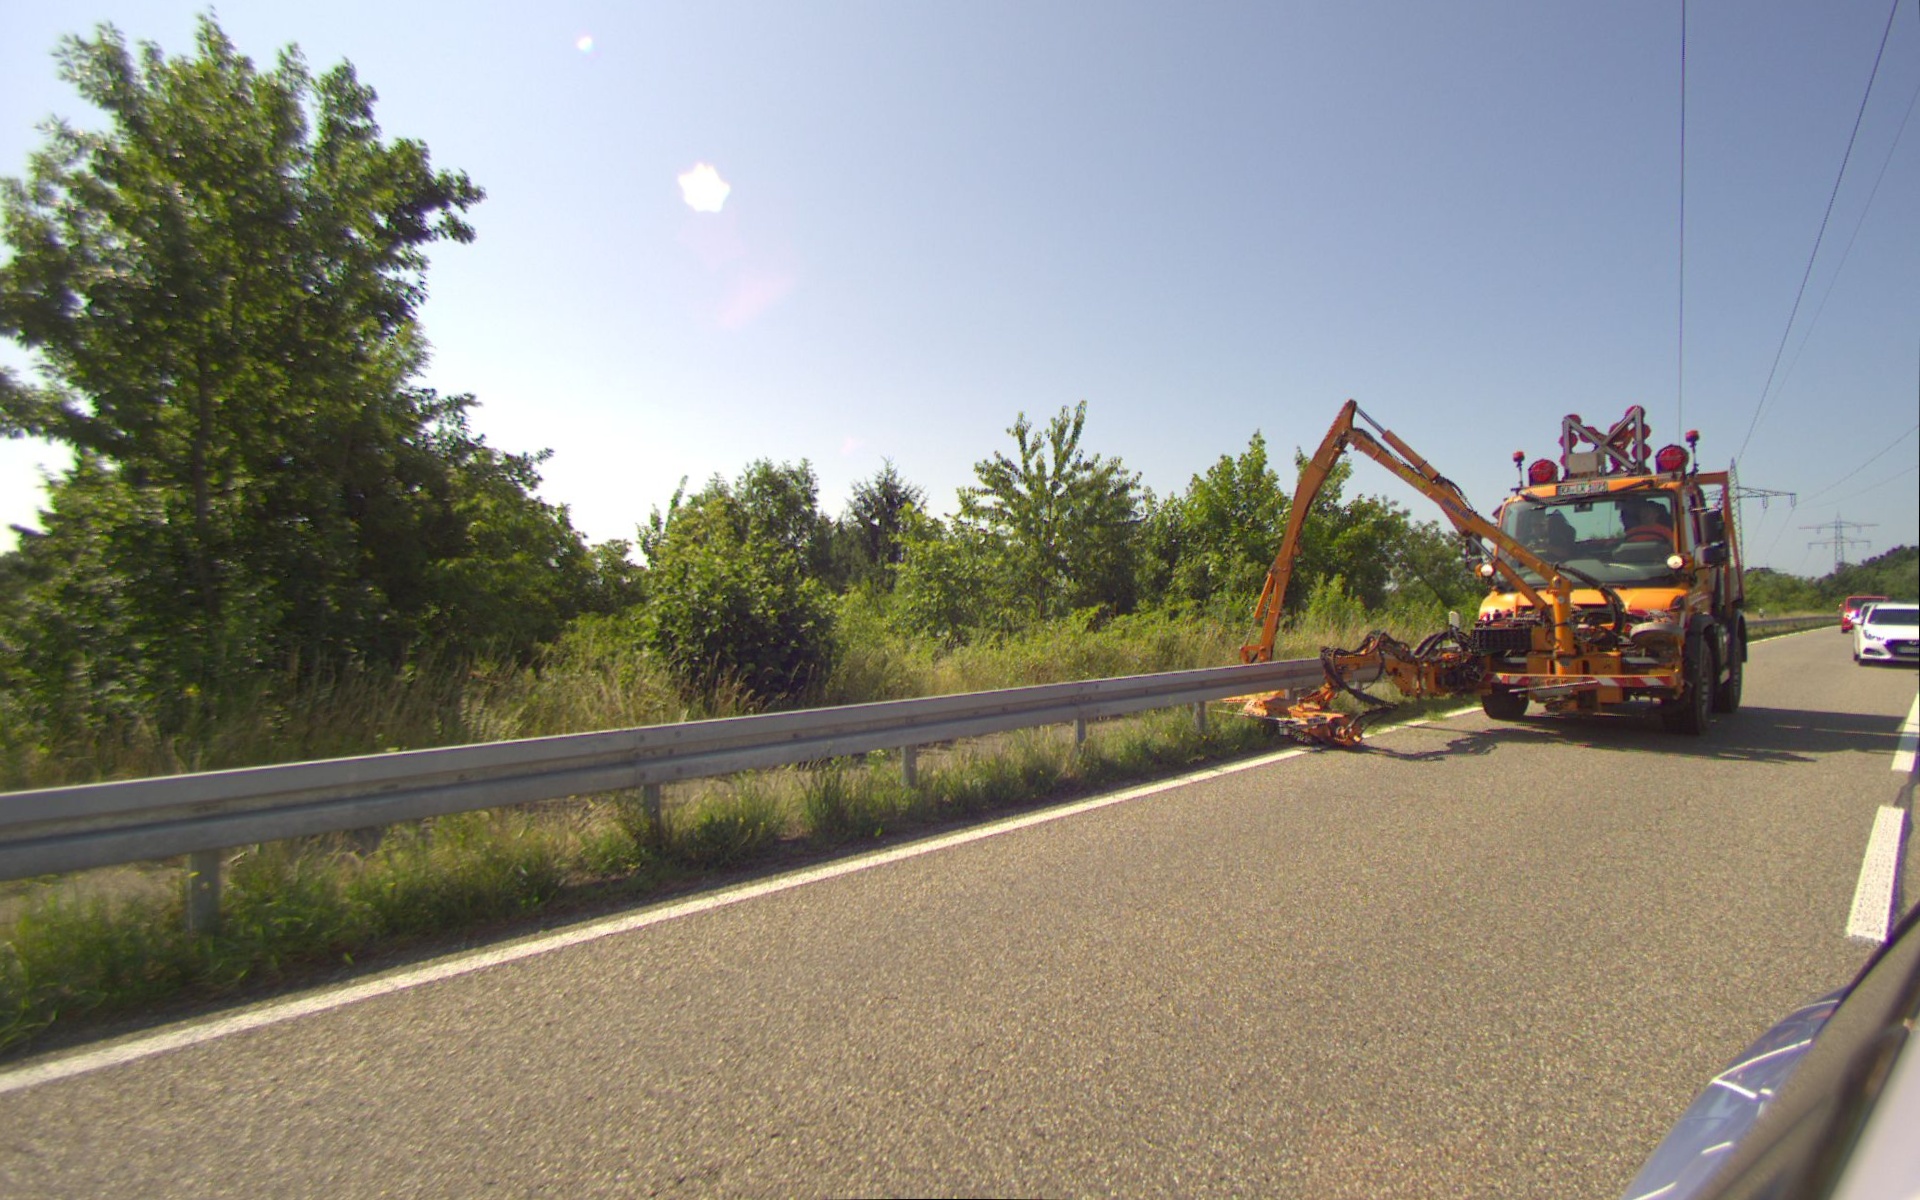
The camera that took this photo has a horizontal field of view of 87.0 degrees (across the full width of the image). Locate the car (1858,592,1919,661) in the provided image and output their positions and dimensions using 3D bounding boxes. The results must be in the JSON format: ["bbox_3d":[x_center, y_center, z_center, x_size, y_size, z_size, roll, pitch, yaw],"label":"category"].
[{"bbox_3d":[23.024,0.596,24.318,1.914,1.524,4.725,0,0,39],"label":"car"}]

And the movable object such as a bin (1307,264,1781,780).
[{"bbox_3d":[7.455,-0.591,11.957,2.753,3.888,9.295,0,0,44],"label":"movable object such as a bin"}]

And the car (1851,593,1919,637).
[{"bbox_3d":[35.681,0.550,38.926,1.914,1.568,4.725,0,0,39],"label":"car"}]

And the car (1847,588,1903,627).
[{"bbox_3d":[48.795,0.376,54.011,2.120,1.970,4.942,0,0,42],"label":"car"}]
